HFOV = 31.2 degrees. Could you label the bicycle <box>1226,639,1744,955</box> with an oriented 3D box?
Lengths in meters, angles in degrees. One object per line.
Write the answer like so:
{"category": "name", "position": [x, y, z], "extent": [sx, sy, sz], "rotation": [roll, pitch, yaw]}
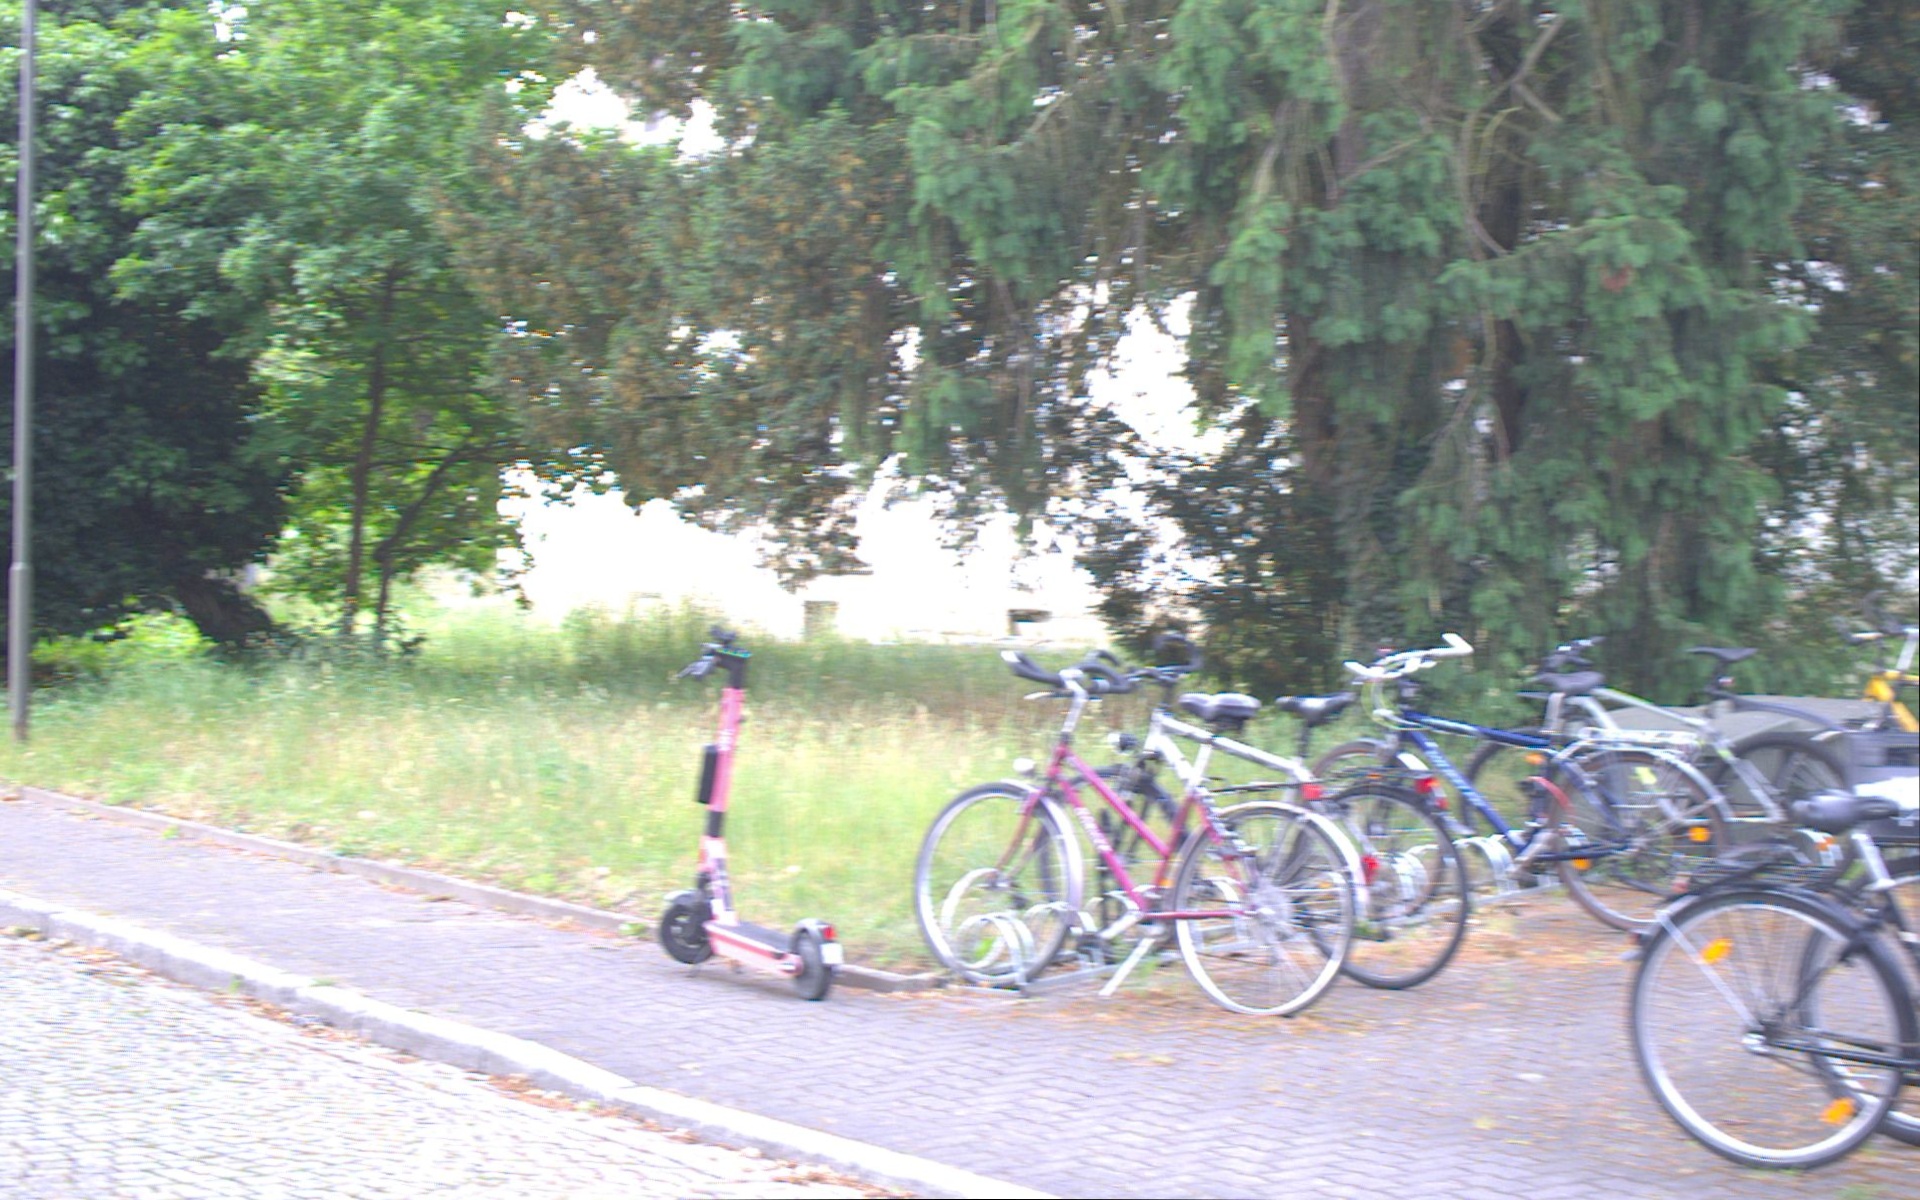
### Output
{"category": "bicycle", "position": [1.964, 0.710, 12.968], "extent": [1.823, 1.061, 0.617], "rotation": [1, 1, 32]}

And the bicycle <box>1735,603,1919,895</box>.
{"category": "bicycle", "position": [4.105, 0.617, 14.230], "extent": [0.550, 1.167, 1.753], "rotation": [0, 1, -41]}

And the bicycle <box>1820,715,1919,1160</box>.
{"category": "bicycle", "position": [2.966, 0.832, 8.378], "extent": [1.619, 1.070, 0.477], "rotation": [0, 0, 27]}

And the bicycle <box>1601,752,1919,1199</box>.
{"category": "bicycle", "position": [2.356, 0.880, 8.020], "extent": [1.619, 1.004, 0.477], "rotation": [0, 0, 27]}

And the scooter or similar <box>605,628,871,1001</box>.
{"category": "scooter or similar", "position": [-0.790, 0.720, 12.022], "extent": [0.356, 1.205, 1.137], "rotation": [0, 1, -37]}

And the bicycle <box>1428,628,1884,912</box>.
{"category": "bicycle", "position": [2.854, 0.672, 14.175], "extent": [1.751, 1.061, 0.550], "rotation": [1, 1, 32]}

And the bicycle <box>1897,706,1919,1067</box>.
{"category": "bicycle", "position": [3.417, 0.802, 9.287], "extent": [1.666, 1.004, 0.476], "rotation": [0, 0, 41]}

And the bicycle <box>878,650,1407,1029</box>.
{"category": "bicycle", "position": [0.580, 0.754, 11.436], "extent": [1.768, 1.110, 0.550], "rotation": [2, 1, 40]}

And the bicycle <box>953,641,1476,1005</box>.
{"category": "bicycle", "position": [0.849, 0.727, 11.851], "extent": [1.803, 1.110, 0.550], "rotation": [2, 1, 40]}

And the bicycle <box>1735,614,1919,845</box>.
{"category": "bicycle", "position": [4.549, 0.610, 16.214], "extent": [1.682, 1.038, 0.550], "rotation": [2, 2, 43]}
